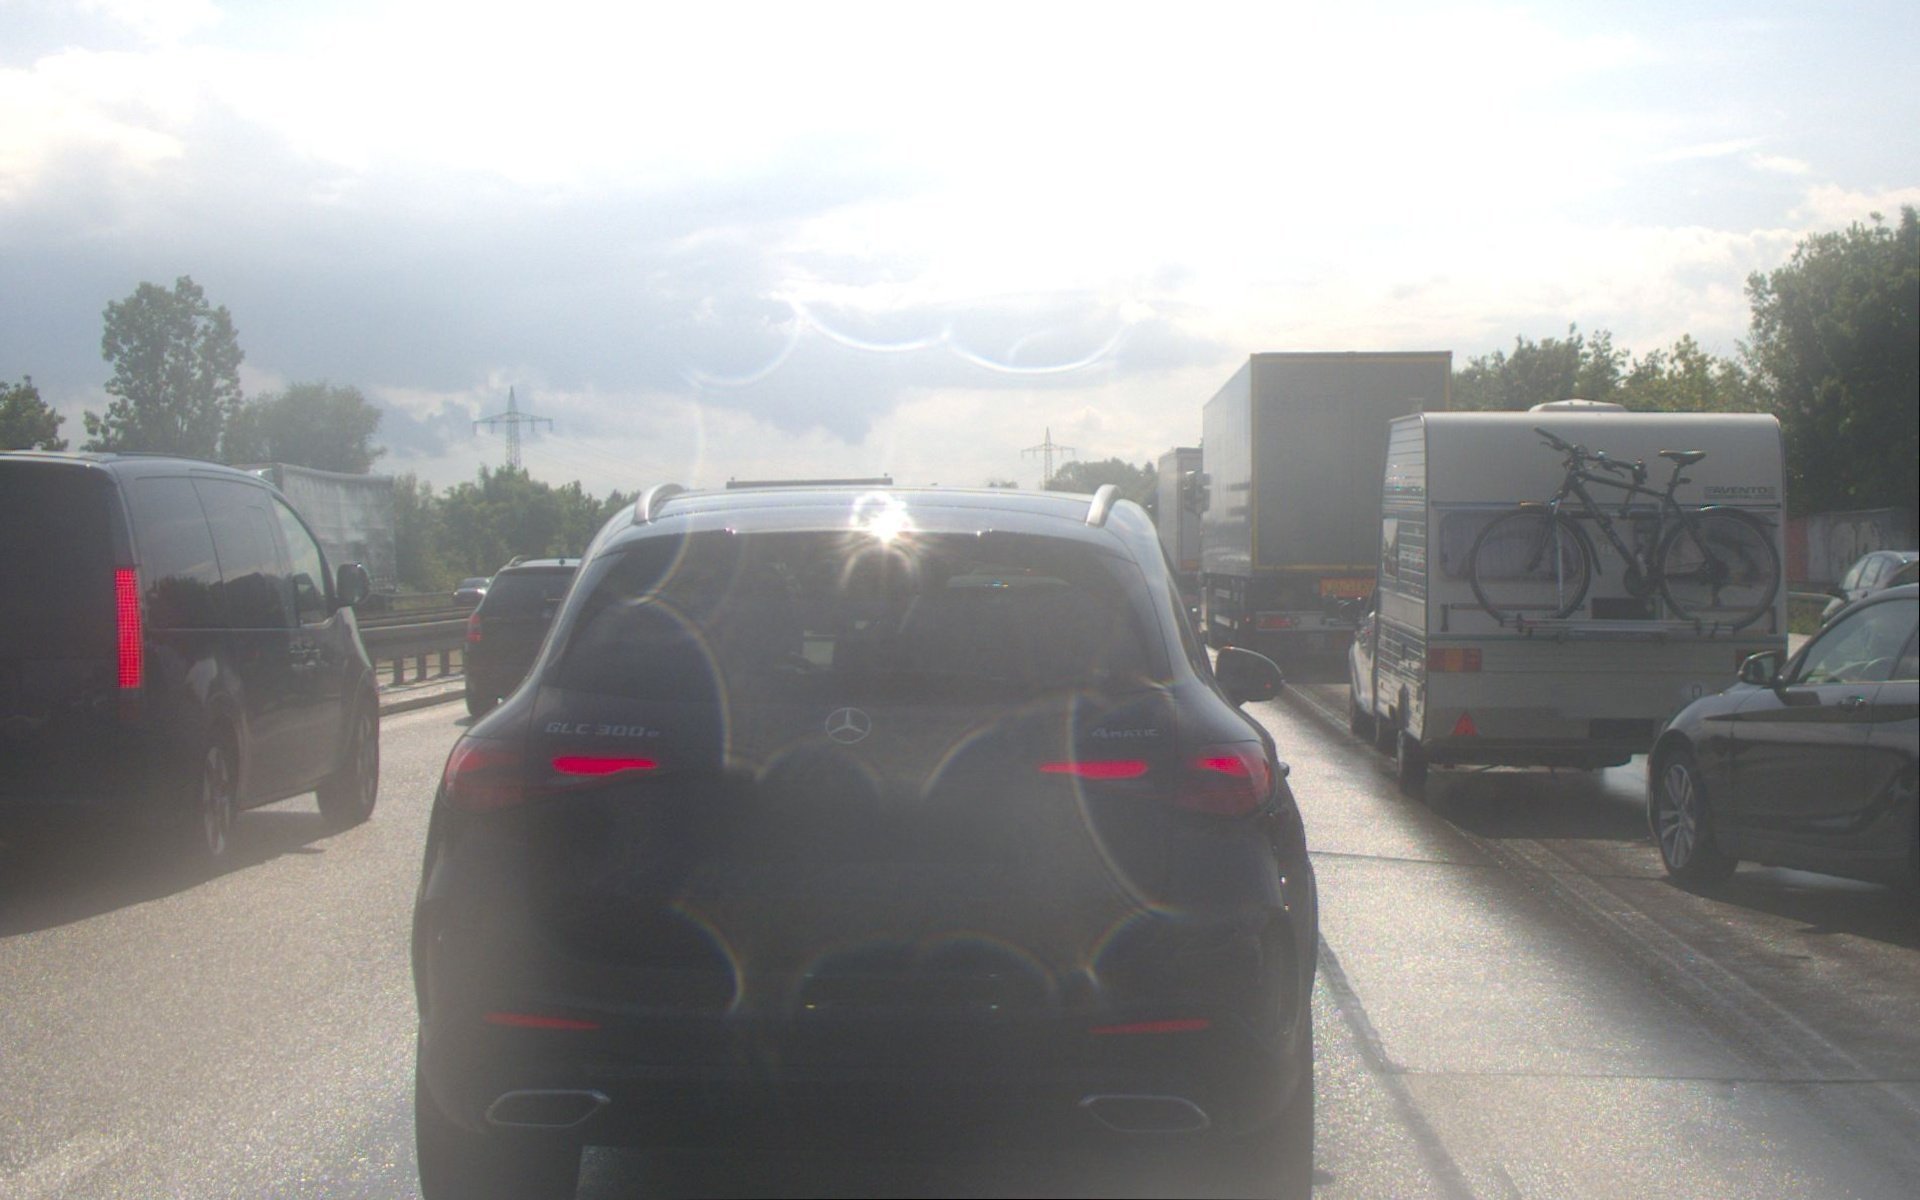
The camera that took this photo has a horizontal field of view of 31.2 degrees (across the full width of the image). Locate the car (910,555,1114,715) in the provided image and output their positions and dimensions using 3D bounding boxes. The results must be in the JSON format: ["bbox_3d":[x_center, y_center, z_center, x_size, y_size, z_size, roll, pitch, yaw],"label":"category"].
[{"bbox_3d":[0.554,0.291,32.764,1.806,1.402,4.000,1,1,3],"label":"car"}]

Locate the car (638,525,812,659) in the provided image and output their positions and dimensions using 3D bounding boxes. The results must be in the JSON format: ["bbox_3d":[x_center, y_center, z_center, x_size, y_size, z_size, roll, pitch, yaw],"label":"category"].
[{"bbox_3d":[-3.138,-0.127,46.596,1.993,1.714,4.000,1,1,1],"label":"car"}]

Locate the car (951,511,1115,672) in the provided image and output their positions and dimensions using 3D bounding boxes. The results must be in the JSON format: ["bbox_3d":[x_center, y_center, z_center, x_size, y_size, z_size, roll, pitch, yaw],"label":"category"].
[{"bbox_3d":[1.005,-0.137,45.301,1.994,2.007,4.000,1,1,3],"label":"car"}]

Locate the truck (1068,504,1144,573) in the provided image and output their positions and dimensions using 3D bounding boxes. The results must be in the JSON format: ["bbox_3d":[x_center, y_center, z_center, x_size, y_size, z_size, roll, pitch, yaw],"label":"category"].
[{"bbox_3d":[8.806,-3.691,208.809,3.842,4.003,11.222,1,1,-2],"label":"truck"}]

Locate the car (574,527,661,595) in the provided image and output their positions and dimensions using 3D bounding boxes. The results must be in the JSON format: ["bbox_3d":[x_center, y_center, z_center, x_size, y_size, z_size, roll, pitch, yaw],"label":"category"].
[{"bbox_3d":[-11.498,-1.362,116.016,1.993,2.200,6.980,1,1,2],"label":"car"}]

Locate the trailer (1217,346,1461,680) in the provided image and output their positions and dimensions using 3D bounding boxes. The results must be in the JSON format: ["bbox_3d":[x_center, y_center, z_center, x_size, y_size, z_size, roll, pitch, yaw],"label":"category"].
[{"bbox_3d":[5.084,-1.150,47.363,3.007,4.152,8.535,1,1,5],"label":"trailer"}]

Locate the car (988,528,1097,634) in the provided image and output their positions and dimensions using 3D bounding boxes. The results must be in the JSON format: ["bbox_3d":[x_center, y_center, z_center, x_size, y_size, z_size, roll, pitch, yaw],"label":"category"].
[{"bbox_3d":[1.630,-0.386,66.599,1.994,2.007,4.000,0,1,3],"label":"car"}]

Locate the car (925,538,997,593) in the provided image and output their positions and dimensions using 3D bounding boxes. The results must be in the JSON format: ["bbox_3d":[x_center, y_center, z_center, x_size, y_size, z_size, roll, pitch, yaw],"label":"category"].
[{"bbox_3d":[0.049,-1.122,110.589,1.994,1.610,4.000,4,1,3],"label":"car"}]

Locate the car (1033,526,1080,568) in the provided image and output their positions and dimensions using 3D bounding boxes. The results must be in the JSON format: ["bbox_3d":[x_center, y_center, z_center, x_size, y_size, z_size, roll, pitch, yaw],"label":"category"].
[{"bbox_3d":[4.146,-2.292,148.248,1.876,1.754,4.000,1,1,0],"label":"car"}]

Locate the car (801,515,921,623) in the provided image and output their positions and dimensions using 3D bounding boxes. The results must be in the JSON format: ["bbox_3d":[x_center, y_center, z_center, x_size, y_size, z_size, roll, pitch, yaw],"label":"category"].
[{"bbox_3d":[-1.987,-0.635,69.948,1.994,2.007,4.000,4,1,3],"label":"car"}]

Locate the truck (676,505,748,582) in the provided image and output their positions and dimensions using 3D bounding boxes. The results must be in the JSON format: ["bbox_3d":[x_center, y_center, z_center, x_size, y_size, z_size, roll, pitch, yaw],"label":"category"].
[{"bbox_3d":[-13.538,-3.069,188.197,3.005,4.089,7.686,-2,1,2],"label":"truck"}]

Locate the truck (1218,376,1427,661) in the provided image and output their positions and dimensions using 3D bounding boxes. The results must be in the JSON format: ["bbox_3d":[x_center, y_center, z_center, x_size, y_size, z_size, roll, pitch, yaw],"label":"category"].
[{"bbox_3d":[5.514,-1.231,52.977,2.996,4.152,5.239,1,1,5],"label":"truck"}]

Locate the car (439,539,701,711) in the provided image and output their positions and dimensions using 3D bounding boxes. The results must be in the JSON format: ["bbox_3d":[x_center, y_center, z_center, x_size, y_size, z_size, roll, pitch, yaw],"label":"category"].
[{"bbox_3d":[-3.582,0.182,32.279,1.757,1.511,4.208,0,1,3],"label":"car"}]

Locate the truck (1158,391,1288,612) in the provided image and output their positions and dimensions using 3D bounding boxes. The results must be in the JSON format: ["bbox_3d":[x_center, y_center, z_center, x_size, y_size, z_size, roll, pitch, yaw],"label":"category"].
[{"bbox_3d":[5.968,-2.205,79.044,2.502,4.813,7.543,1,1,1],"label":"truck"}]

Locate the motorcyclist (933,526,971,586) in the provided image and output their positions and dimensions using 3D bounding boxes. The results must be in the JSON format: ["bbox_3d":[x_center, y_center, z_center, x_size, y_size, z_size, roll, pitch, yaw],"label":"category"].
[{"bbox_3d":[-0.235,-1.279,100.159,1.064,1.712,0.785,0,0,3],"label":"motorcyclist"}]

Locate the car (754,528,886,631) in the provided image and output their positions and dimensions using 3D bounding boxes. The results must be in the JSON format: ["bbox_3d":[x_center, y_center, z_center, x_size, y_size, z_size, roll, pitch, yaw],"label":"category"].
[{"bbox_3d":[-2.536,-0.397,63.055,1.994,1.766,4.000,2,1,3],"label":"car"}]

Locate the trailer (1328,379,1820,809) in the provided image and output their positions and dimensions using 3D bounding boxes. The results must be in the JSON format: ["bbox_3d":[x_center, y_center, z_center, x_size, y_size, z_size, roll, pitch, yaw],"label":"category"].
[{"bbox_3d":[3.925,-0.077,23.310,2.374,2.475,6.523,1,1,2],"label":"trailer"}]

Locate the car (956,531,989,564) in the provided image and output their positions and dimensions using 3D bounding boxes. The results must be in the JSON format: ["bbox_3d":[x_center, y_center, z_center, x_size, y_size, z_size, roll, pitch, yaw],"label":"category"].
[{"bbox_3d":[0.760,-3.229,213.208,1.993,2.007,4.000,1,1,0],"label":"car"}]

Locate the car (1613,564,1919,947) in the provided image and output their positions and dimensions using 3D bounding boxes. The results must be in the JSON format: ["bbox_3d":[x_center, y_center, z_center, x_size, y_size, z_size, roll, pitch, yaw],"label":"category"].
[{"bbox_3d":[4.398,0.581,14.292,1.848,1.459,4.257,-1,1,-11],"label":"car"}]

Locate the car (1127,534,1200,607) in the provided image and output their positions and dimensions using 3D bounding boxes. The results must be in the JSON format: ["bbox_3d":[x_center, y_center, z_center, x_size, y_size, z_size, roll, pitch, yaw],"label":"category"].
[{"bbox_3d":[6.055,-0.900,102.349,1.994,2.007,4.000,4,1,3],"label":"car"}]

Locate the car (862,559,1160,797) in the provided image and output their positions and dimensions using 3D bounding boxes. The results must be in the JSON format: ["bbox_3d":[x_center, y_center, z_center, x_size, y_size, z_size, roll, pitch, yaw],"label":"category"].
[{"bbox_3d":[0.413,0.433,22.245,1.757,1.382,3.945,0,1,3],"label":"car"}]

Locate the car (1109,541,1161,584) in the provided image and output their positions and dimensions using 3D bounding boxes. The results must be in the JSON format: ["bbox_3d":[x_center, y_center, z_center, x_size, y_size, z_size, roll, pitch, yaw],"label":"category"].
[{"bbox_3d":[7.275,-1.577,143.235,1.876,1.754,4.000,1,1,0],"label":"car"}]

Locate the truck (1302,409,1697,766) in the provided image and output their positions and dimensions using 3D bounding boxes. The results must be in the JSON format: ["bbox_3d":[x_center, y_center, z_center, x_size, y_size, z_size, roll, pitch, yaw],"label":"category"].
[{"bbox_3d":[4.064,-0.120,26.965,2.374,2.468,5.756,1,1,2],"label":"truck"}]

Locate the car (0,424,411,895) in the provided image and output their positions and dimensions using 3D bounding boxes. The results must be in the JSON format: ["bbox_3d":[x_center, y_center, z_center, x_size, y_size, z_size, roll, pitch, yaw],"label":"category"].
[{"bbox_3d":[-4.279,0.211,17.319,1.994,2.007,5.269,0,1,2],"label":"car"}]

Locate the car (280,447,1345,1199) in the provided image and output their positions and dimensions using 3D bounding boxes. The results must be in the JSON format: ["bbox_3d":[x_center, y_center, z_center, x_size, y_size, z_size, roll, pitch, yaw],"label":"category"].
[{"bbox_3d":[-0.196,0.518,8.629,1.994,1.656,4.406,0,1,2],"label":"car"}]

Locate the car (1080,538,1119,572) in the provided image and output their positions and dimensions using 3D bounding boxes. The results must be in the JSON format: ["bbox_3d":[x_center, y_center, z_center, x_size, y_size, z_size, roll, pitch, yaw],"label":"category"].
[{"bbox_3d":[7.389,-2.386,182.680,1.876,1.754,4.000,1,1,0],"label":"car"}]

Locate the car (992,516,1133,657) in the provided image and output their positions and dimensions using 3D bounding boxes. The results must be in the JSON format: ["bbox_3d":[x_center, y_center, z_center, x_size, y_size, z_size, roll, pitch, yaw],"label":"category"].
[{"bbox_3d":[1.644,-0.229,53.893,1.994,2.007,4.000,4,1,3],"label":"car"}]

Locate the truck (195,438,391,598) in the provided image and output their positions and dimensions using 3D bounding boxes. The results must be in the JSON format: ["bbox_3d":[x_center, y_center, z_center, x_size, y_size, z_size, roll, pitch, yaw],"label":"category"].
[{"bbox_3d":[-16.835,-1.973,87.454,2.848,3.839,9.422,0,0,2],"label":"truck"}]

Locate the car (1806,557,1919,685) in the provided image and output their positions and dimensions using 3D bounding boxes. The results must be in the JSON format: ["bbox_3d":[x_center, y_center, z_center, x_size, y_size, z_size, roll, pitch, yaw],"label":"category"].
[{"bbox_3d":[12.290,0.247,44.400,1.848,1.563,4.000,1,1,2],"label":"car"}]

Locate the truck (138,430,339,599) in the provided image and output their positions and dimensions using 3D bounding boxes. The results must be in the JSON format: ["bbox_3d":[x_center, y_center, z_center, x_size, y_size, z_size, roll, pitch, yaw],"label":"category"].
[{"bbox_3d":[-17.018,-1.942,81.656,2.862,3.808,7.877,0,0,2],"label":"truck"}]

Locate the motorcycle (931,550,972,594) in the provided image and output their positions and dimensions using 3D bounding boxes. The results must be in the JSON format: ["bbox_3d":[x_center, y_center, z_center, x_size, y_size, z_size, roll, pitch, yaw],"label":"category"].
[{"bbox_3d":[-0.236,-0.836,100.181,1.074,1.267,2.690,0,1,3],"label":"motorcycle"}]

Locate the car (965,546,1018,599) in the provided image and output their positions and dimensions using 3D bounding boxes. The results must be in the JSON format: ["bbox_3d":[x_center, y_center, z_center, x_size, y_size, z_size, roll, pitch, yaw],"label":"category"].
[{"bbox_3d":[1.263,-1.150,140.413,1.993,2.007,4.000,4,1,0],"label":"car"}]

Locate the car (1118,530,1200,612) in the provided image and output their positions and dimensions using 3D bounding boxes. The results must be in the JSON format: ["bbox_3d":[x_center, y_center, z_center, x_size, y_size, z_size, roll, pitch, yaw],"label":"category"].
[{"bbox_3d":[5.107,-0.753,88.373,1.994,2.007,4.000,2,1,3],"label":"car"}]
